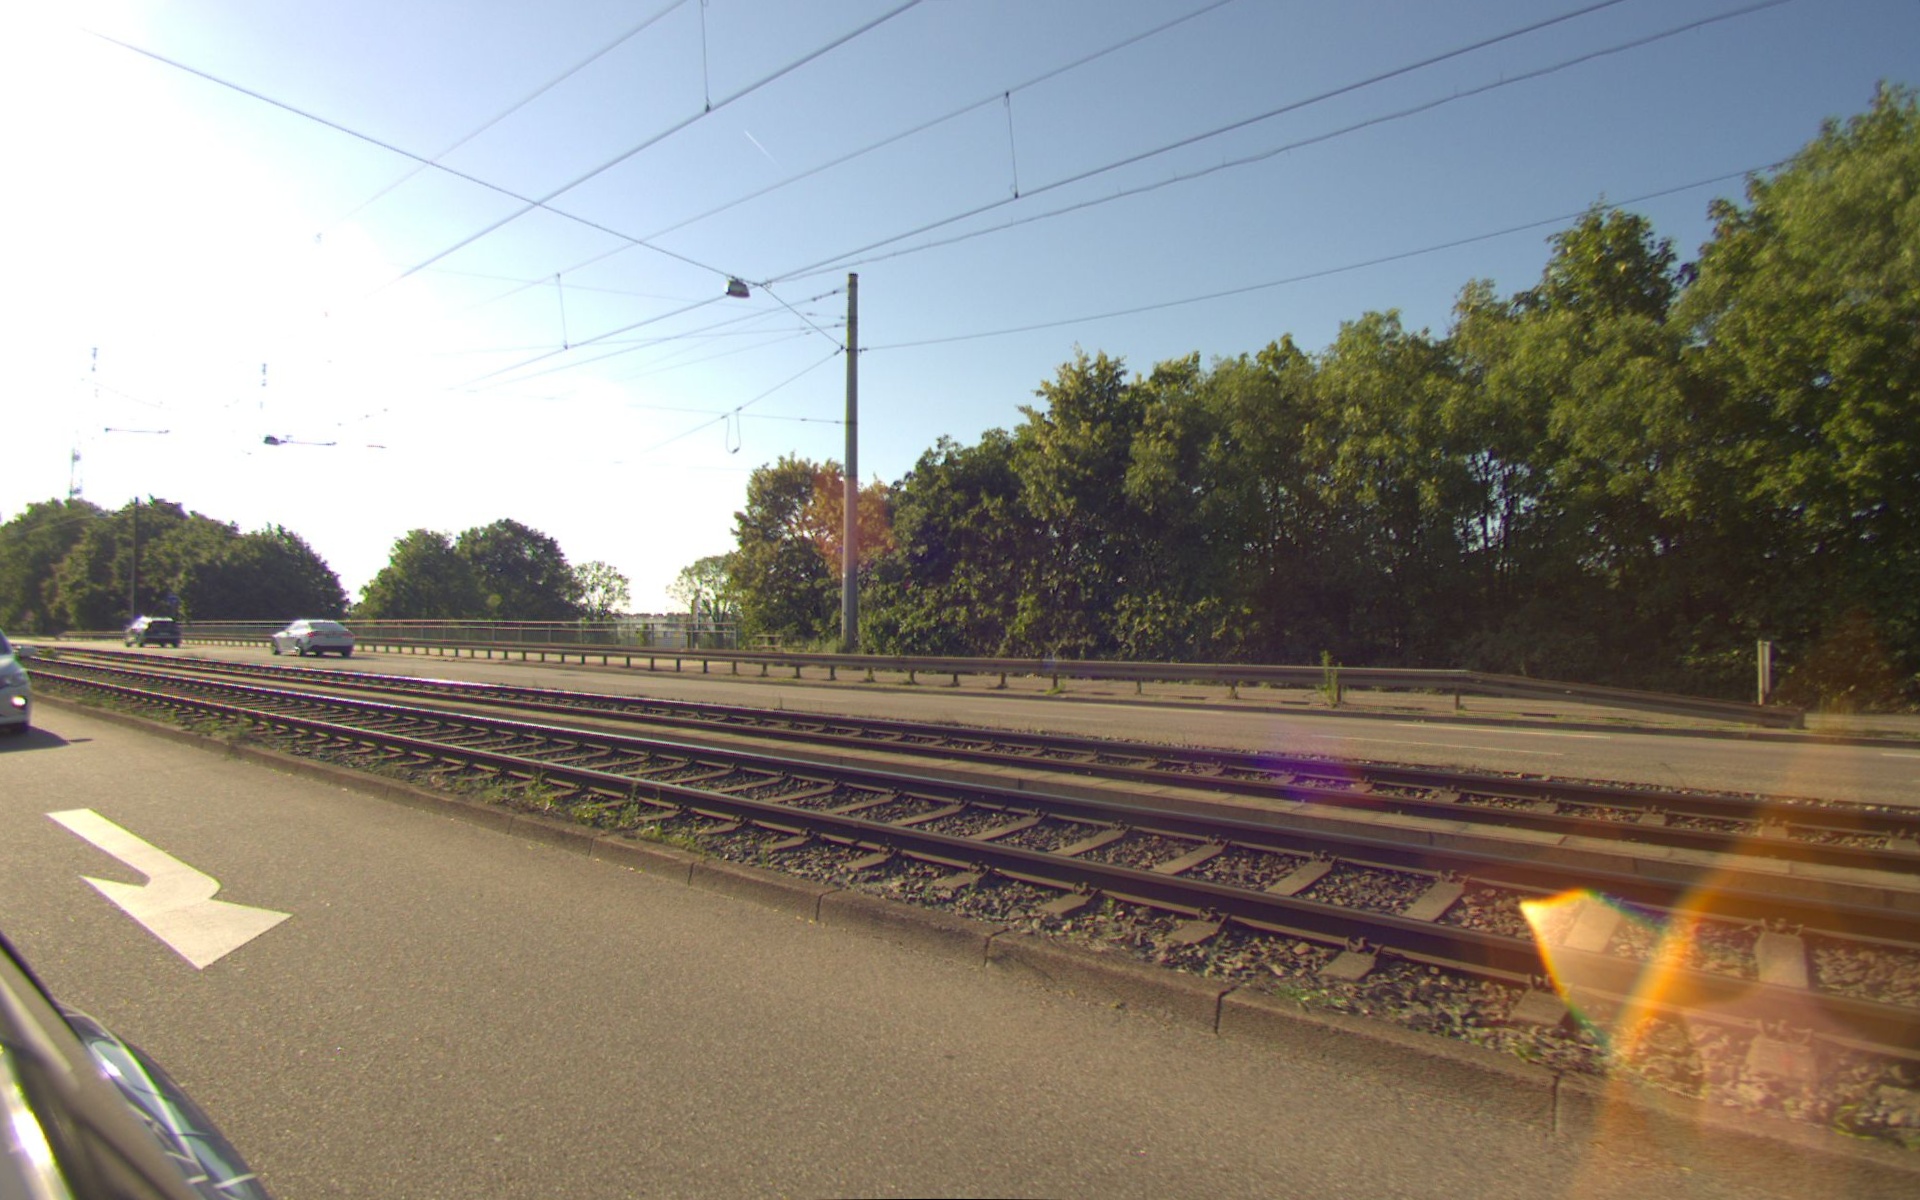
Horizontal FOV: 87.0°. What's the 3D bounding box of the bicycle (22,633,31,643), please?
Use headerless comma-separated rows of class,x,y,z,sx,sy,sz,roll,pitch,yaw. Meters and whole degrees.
bicycle,-106.847,4.349,115.853,1.726,1.060,0.499,-1,0,40

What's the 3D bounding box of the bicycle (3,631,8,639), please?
bicycle,-119.209,4.393,126.448,0.420,0.971,1.914,0,0,-44

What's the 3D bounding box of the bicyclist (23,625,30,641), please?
bicyclist,-106.815,3.790,115.833,0.832,1.764,0.492,-1,0,39

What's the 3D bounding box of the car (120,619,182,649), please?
car,-45.098,1.856,56.377,4.796,1.592,1.692,-1,-2,39

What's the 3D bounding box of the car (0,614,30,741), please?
car,-13.418,0.961,13.028,3.860,1.523,1.687,-1,0,40

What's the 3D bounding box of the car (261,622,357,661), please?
car,-26.379,1.664,40.920,4.871,1.425,1.738,0,-4,38

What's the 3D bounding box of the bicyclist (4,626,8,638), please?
bicyclist,-119.245,4.008,126.499,0.417,1.439,0.755,0,-1,-44
